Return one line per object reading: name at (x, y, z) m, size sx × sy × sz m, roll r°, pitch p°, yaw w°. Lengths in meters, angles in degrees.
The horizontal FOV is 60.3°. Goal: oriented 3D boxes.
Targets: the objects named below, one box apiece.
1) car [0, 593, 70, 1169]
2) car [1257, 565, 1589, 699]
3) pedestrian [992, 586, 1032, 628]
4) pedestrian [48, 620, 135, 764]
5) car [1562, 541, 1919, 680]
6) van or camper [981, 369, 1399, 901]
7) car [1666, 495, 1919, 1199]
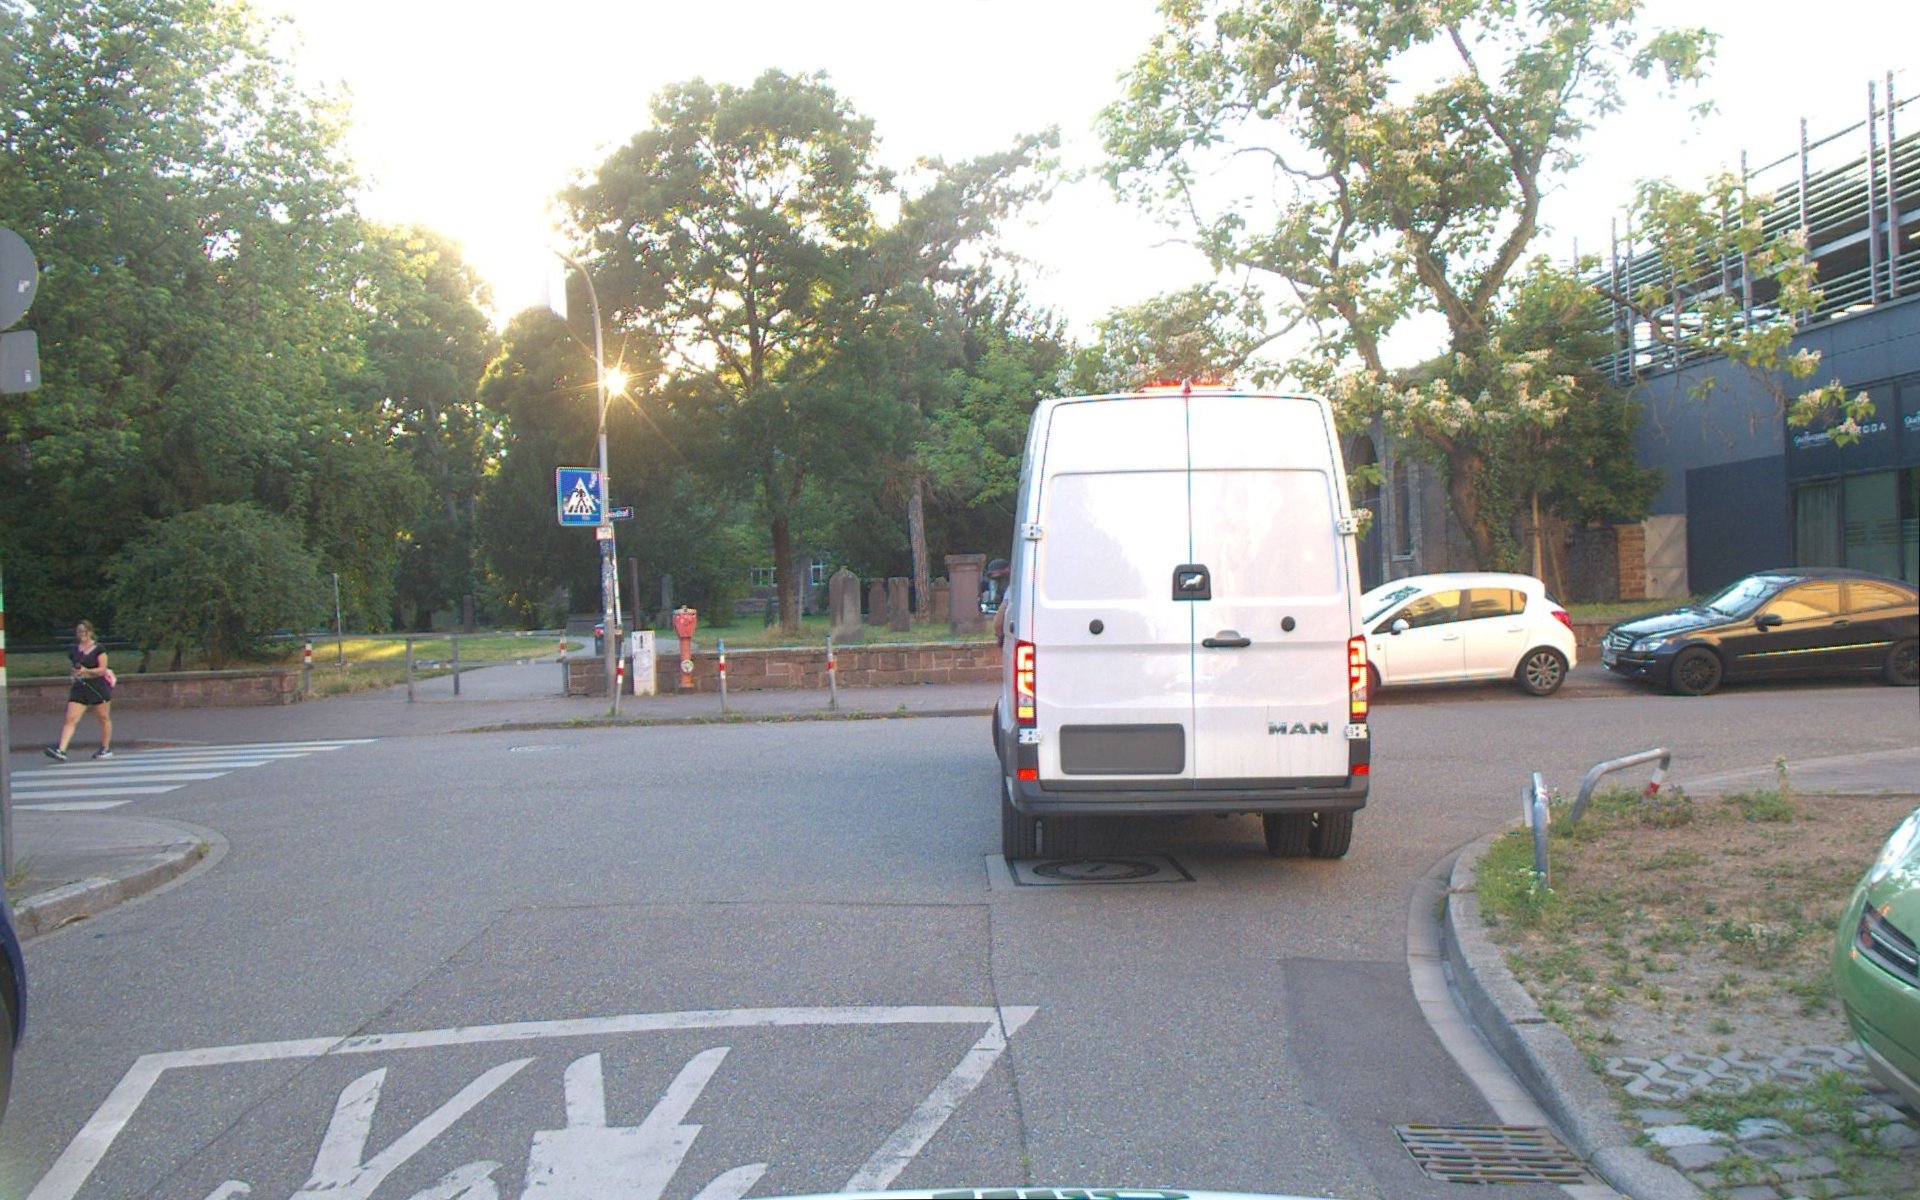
car at (-3.426, 0.830, 3.024) m, size 1.700 × 1.594 × 3.787 m, roll -3°, pitch 0°, yaw -5°
car at (6.025, 0.391, 21.837) m, size 3.778 × 1.601 × 1.957 m, roll -1°, pitch 0°, yaw -4°
pedestrian at (1.875, 0.250, 59.787) m, size 1.301 × 1.469 × 1.046 m, roll -2°, pitch 0°, yaw -3°
pedestrian at (-10.425, 1.083, 19.856) m, size 0.633 × 1.677 × 0.674 m, roll 0°, pitch 0°, yaw 17°
car at (10.303, 0.120, 21.563) m, size 4.203 × 1.529 × 1.824 m, roll -3°, pitch 0°, yaw 3°
van or camper at (1.196, 0.176, 11.512) m, size 1.953 × 2.664 × 6.402 m, roll 0°, pitch 0°, yaw -1°
car at (4.332, 0.479, 4.093) m, size 4.317 × 1.660 × 1.844 m, roll -3°, pitch -2°, yaw -4°
